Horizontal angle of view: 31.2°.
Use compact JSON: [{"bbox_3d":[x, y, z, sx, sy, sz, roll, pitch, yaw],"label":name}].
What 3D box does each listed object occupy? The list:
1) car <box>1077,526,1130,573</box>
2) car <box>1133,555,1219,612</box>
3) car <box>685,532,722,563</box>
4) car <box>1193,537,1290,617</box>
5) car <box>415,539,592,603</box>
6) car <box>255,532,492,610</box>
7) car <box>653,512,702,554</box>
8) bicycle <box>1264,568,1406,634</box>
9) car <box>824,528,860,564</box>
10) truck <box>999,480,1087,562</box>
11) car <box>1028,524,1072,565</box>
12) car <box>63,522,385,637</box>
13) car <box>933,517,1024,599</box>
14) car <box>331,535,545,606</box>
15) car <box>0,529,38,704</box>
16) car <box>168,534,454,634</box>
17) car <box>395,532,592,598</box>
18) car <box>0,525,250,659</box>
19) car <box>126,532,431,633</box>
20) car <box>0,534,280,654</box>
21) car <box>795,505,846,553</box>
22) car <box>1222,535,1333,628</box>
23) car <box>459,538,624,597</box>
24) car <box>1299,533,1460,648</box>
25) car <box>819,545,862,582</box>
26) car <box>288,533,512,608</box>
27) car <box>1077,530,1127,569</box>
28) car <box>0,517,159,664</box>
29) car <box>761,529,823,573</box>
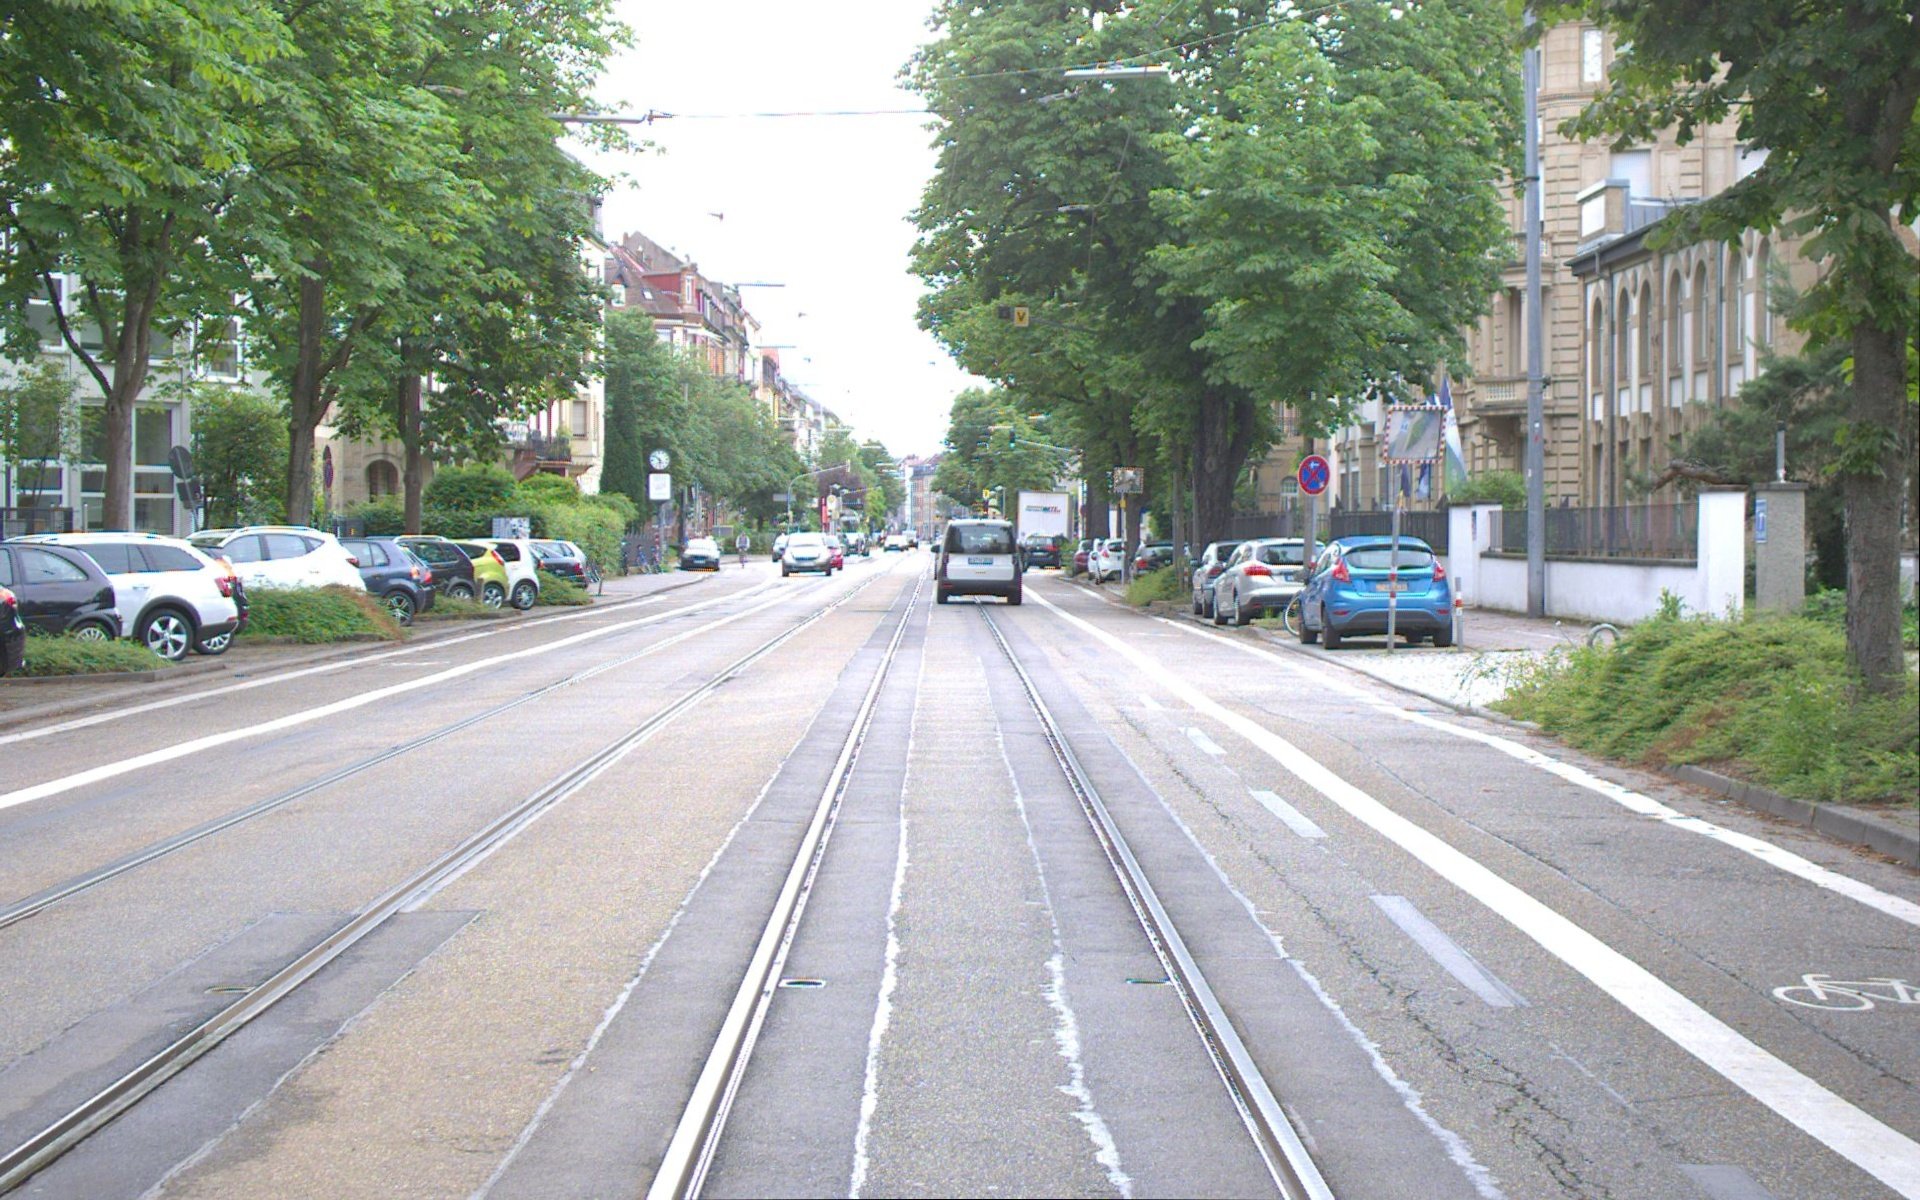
[{"bbox_3d":[5.574,-1.963,133.805,1.993,1.787,4.000,0,1,1],"label":"car"},{"bbox_3d":[4.965,-0.406,79.331,1.873,1.247,4.000,0,1,2],"label":"car"},{"bbox_3d":[-11.643,-2.408,156.179,1.641,1.349,3.878,1,1,-4],"label":"car"},{"bbox_3d":[5.269,-0.455,64.732,1.475,1.424,3.566,1,1,-1],"label":"car"},{"bbox_3d":[-10.538,-0.677,79.381,3.706,1.381,1.700,1,1,-24],"label":"car"},{"bbox_3d":[-10.588,-0.518,62.252,1.699,1.347,3.958,2,2,45],"label":"car"},{"bbox_3d":[-14.914,-3.533,181.429,2.177,2.199,4.219,0,1,1],"label":"car"},{"bbox_3d":[5.508,0.014,50.564,2.012,0.953,0.534,0,1,-3],"label":"bicycle"},{"bbox_3d":[-7.553,-3.487,220.409,2.205,2.248,4.000,0,1,0],"label":"car"},{"bbox_3d":[4.182,-4.041,176.224,3.807,4.015,10.219,1,1,-2],"label":"truck"},{"bbox_3d":[4.215,-2.593,161.030,1.884,1.839,4.000,1,1,-1],"label":"car"},{"bbox_3d":[-10.489,-0.289,49.238,1.698,1.550,4.336,2,1,41],"label":"car"},{"bbox_3d":[0.422,-0.903,74.568,1.812,1.702,3.698,1,1,2],"label":"car"},{"bbox_3d":[-10.398,-0.579,68.641,1.699,1.347,3.958,2,2,45],"label":"car"},{"bbox_3d":[-9.998,0.118,29.400,3.696,1.519,1.699,0,1,-44],"label":"car"},{"bbox_3d":[-10.491,-0.263,55.780,1.699,1.530,4.335,2,1,45],"label":"car"},{"bbox_3d":[-9.990,-0.741,73.761,1.699,1.347,3.958,2,2,45],"label":"car"},{"bbox_3d":[-10.378,-0.104,39.447,4.016,1.479,1.699,0,1,-38],"label":"car"},{"bbox_3d":[-10.351,-0.268,52.423,1.699,1.449,4.335,2,2,45],"label":"car"},{"bbox_3d":[-10.597,-0.078,42.295,4.016,1.401,1.699,0,1,-38],"label":"car"},{"bbox_3d":[-7.190,-3.656,177.315,2.205,2.409,4.000,1,1,4],"label":"car"},{"bbox_3d":[5.298,-0.336,57.698,1.475,1.476,3.566,1,1,-1],"label":"car"},{"bbox_3d":[-10.433,-0.815,85.642,3.706,1.381,1.700,1,1,-24],"label":"car"},{"bbox_3d":[5.548,-0.155,45.824,1.674,1.455,3.433,1,1,-1],"label":"car"},{"bbox_3d":[-5.089,-1.558,146.820,1.676,1.517,2.782,1,1,0],"label":"car"},{"bbox_3d":[-10.653,-0.552,65.552,1.699,1.347,3.958,2,2,45],"label":"car"},{"bbox_3d":[5.222,-1.862,126.715,1.770,1.394,3.795,1,1,2],"label":"car"},{"bbox_3d":[-10.500,-0.121,36.098,3.696,1.519,1.699,0,1,-44],"label":"car"},{"bbox_3d":[-6.037,-1.783,124.003,1.900,1.525,3.754,-1,1,2],"label":"car"}]
